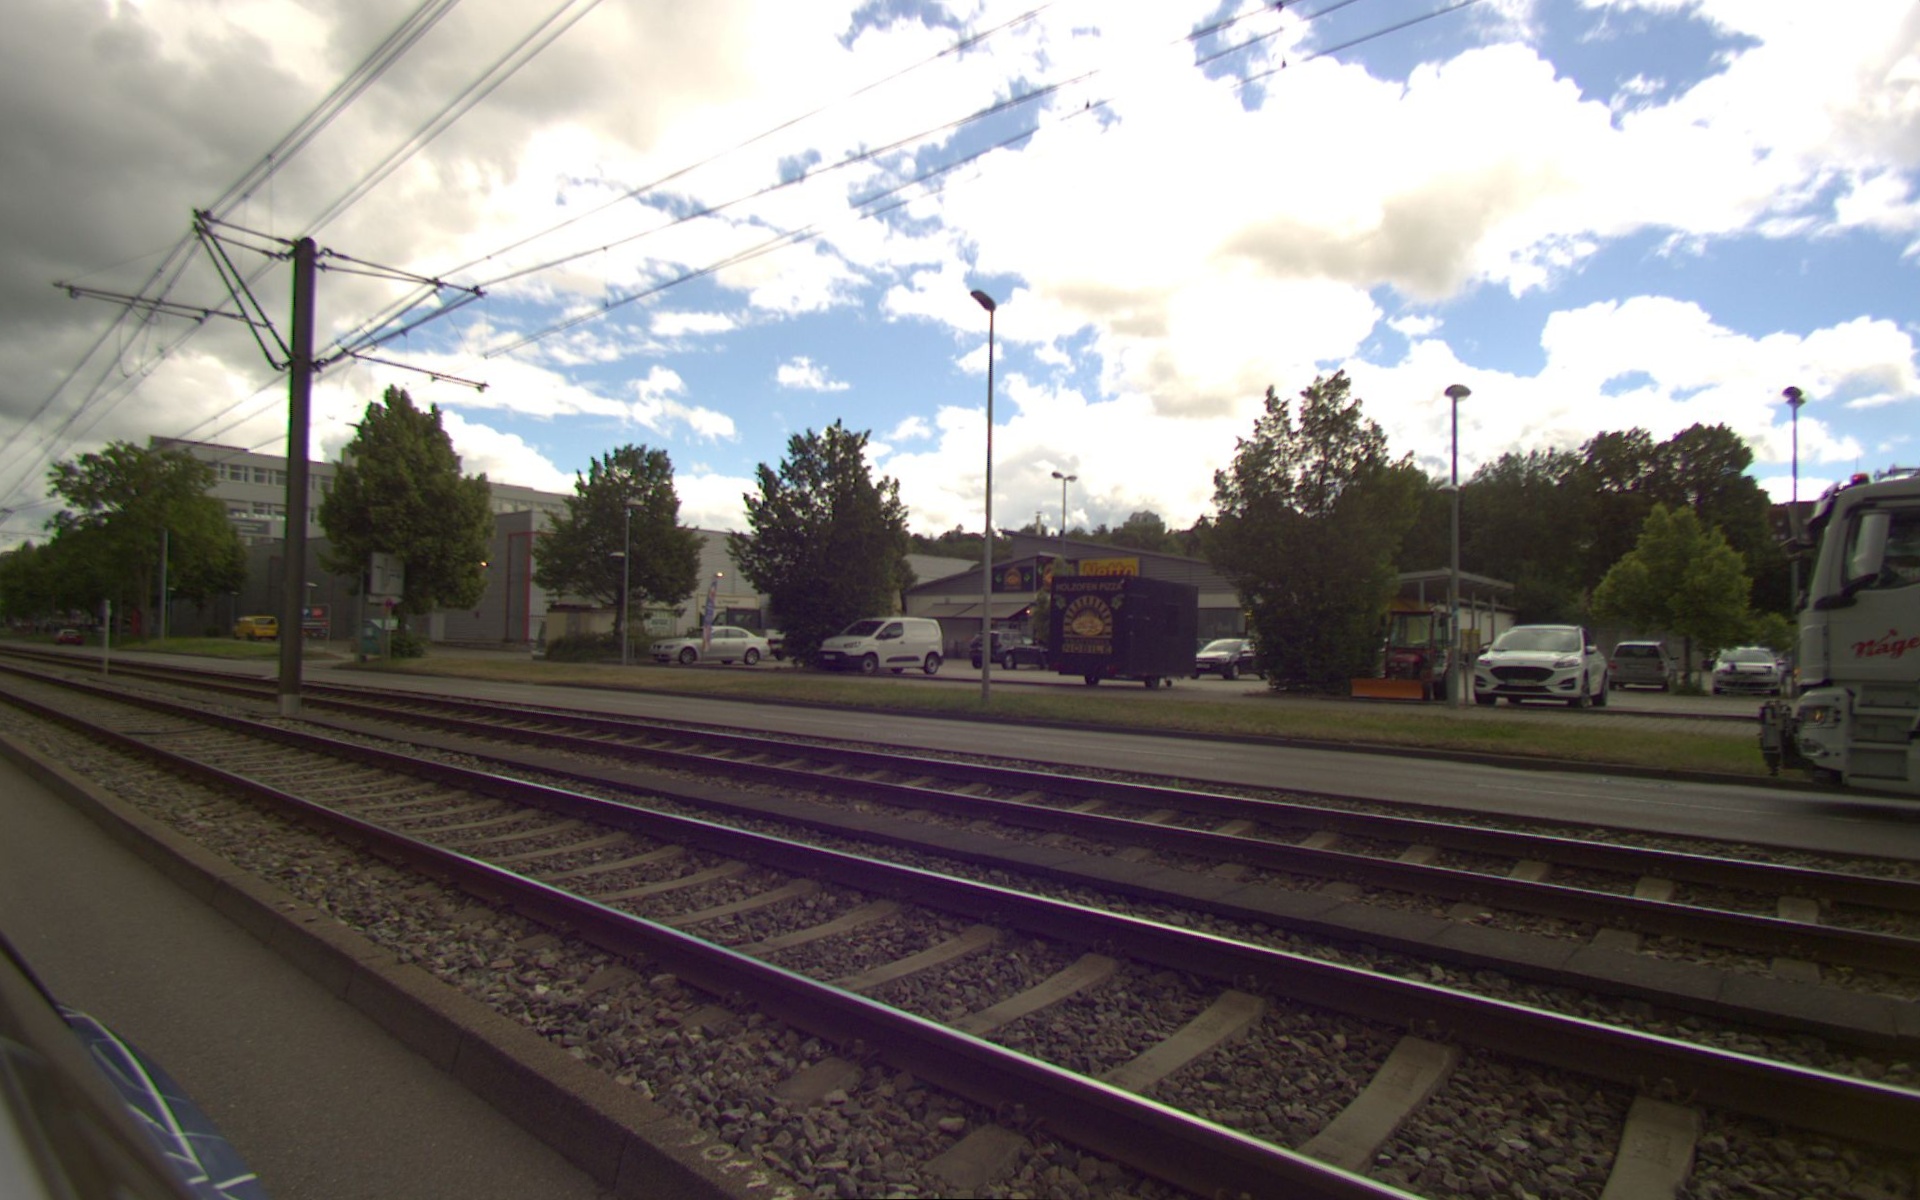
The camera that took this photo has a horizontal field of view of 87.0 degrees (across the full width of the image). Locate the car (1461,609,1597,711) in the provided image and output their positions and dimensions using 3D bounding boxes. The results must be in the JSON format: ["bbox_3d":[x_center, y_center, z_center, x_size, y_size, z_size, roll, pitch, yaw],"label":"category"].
[{"bbox_3d":[11.455,1.177,20.254,1.875,1.811,3.950,-2,-3,36],"label":"car"}]

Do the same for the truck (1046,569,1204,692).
[{"bbox_3d":[4.268,0.807,25.766,2.373,2.843,3.948,-2,-3,38],"label":"truck"}]

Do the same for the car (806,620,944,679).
[{"bbox_3d":[-2.615,1.567,31.966,1.993,1.740,4.178,-2,-3,39],"label":"car"}]

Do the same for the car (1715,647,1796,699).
[{"bbox_3d":[24.469,2.216,31.241,1.676,1.483,3.710,-1,-3,34],"label":"car"}]

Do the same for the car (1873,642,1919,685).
[{"bbox_3d":[34.919,2.308,37.043,1.676,1.483,3.710,-1,-3,34],"label":"car"}]

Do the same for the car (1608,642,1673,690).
[{"bbox_3d":[22.549,2.155,33.529,1.676,1.483,3.710,-1,-3,34],"label":"car"}]

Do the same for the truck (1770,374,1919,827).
[{"bbox_3d":[12.294,-0.043,6.386,11.098,3.692,2.680,-1,-3,39],"label":"truck"}]

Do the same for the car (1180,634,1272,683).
[{"bbox_3d":[9.581,2.078,36.307,1.687,1.652,3.881,-2,-3,40],"label":"car"}]

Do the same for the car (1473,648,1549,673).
[{"bbox_3d":[31.379,3.409,57.657,3.588,1.344,1.455,-2,-3,41],"label":"car"}]

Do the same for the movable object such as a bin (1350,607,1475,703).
[{"bbox_3d":[10.190,1.223,22.657,1.676,1.952,3.949,-1,-3,37],"label":"movable object such as a bin"}]

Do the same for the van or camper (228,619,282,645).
[{"bbox_3d":[-56.409,2.596,80.923,5.235,2.029,2.083,-2,-3,38],"label":"van or camper"}]

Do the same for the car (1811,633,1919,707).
[{"bbox_3d":[22.662,1.714,25.404,1.938,1.697,4.242,-2,-3,40],"label":"car"}]

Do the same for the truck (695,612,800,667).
[{"bbox_3d":[-9.908,1.846,46.890,5.261,2.401,1.972,-2,-4,41],"label":"truck"}]

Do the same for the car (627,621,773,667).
[{"bbox_3d":[-9.859,1.679,38.618,2.651,1.641,4.730,-3,-4,42],"label":"car"}]

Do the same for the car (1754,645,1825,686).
[{"bbox_3d":[32.011,2.497,39.151,1.764,1.483,3.710,-1,-3,34],"label":"car"}]

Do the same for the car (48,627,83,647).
[{"bbox_3d":[-82.282,3.415,93.037,3.996,1.785,1.774,-2,-3,40],"label":"car"}]

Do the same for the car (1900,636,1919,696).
[{"bbox_3d":[27.891,1.864,28.219,1.727,1.690,4.189,-1,-3,33],"label":"car"}]

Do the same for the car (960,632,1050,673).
[{"bbox_3d":[1.961,2.220,43.104,1.873,1.666,3.949,-1,-3,38],"label":"car"}]
